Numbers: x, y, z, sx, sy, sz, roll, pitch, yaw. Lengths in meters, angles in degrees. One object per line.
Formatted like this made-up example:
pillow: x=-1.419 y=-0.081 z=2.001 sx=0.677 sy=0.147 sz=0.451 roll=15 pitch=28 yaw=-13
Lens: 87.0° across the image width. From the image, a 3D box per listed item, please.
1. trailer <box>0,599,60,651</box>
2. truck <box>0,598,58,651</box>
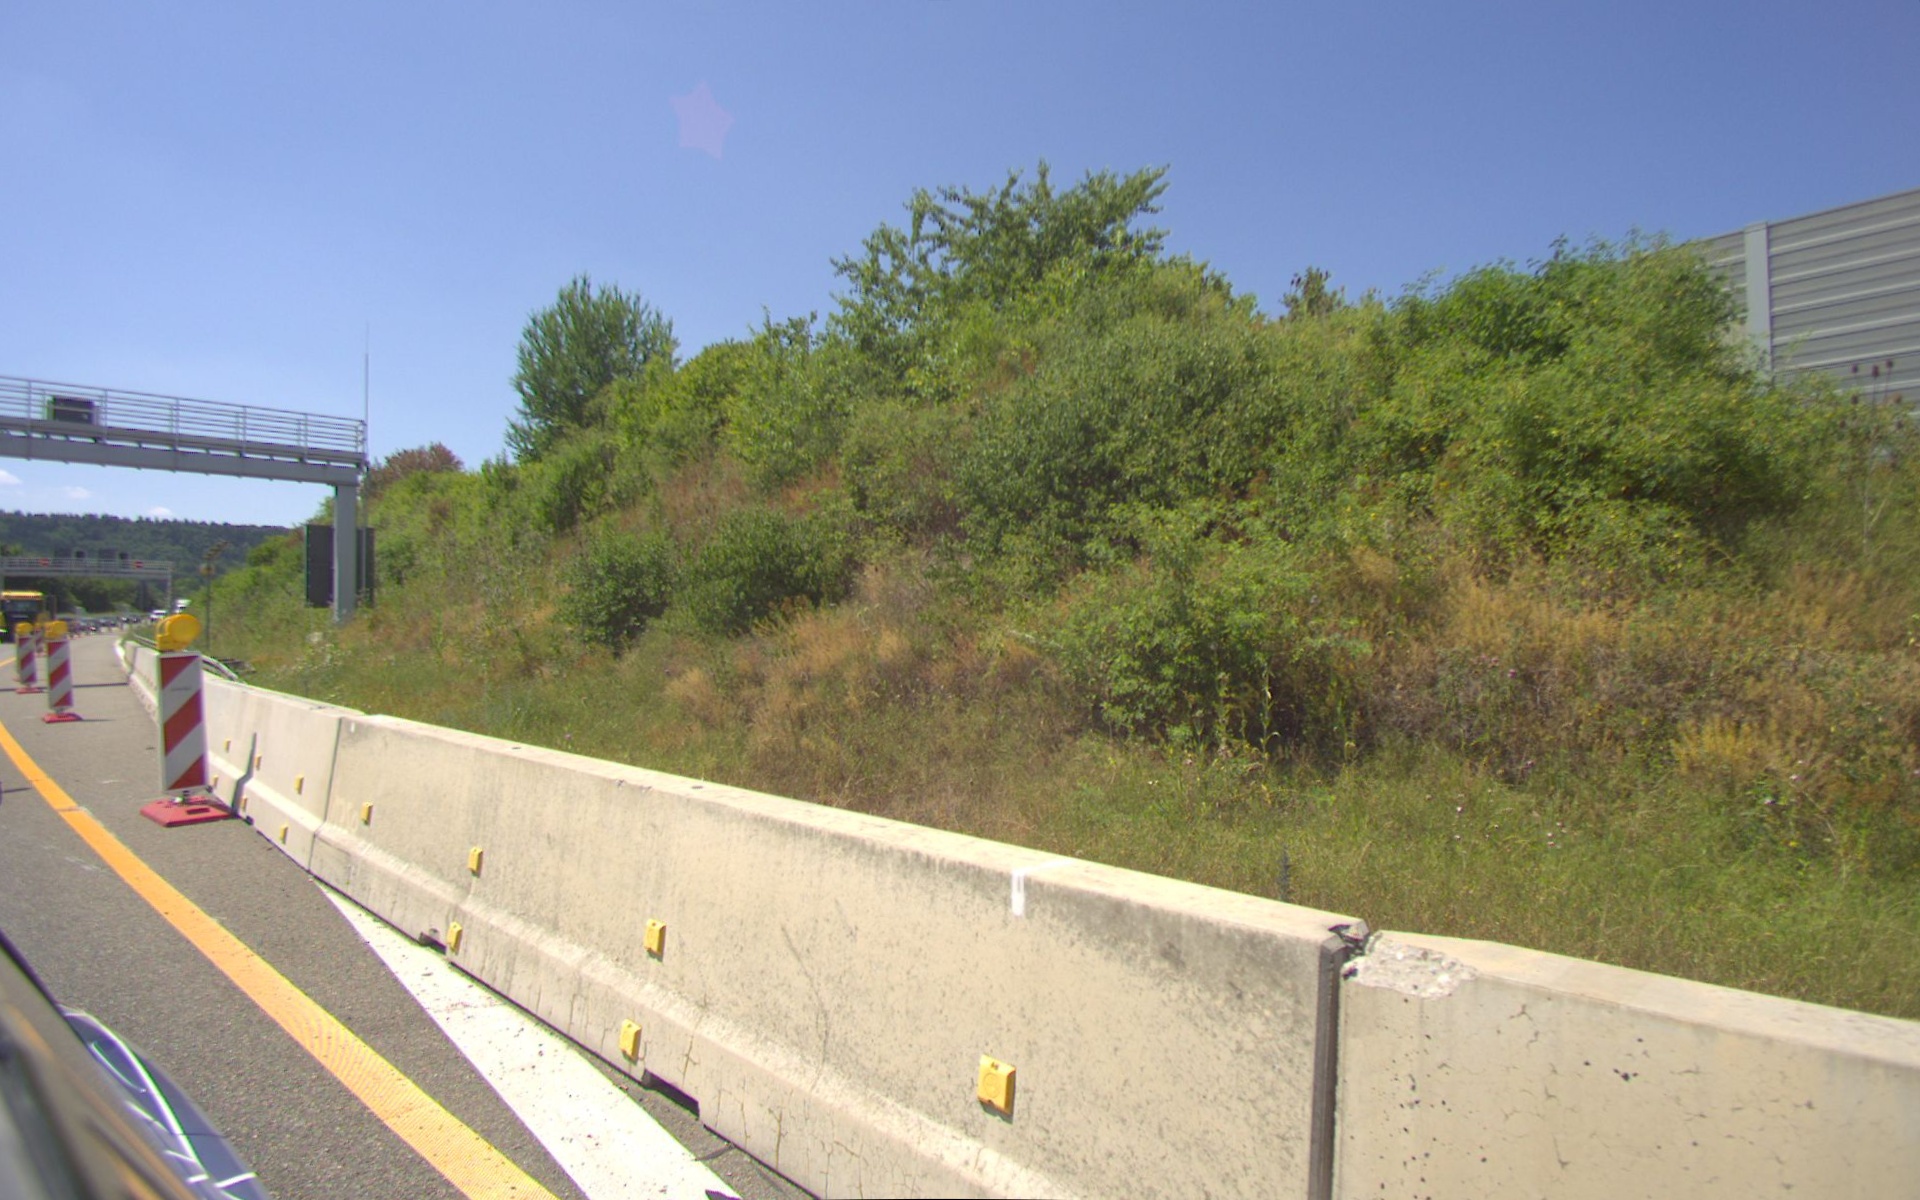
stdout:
trailer: x=-73.534 y=2.134 z=80.198 sx=3.189 sy=3.695 sz=17.445 roll=-1 pitch=-2 yaw=-41
truck: x=-67.808 y=1.812 z=73.656 sx=3.182 sy=3.689 sz=7.092 roll=-1 pitch=-2 yaw=-41
